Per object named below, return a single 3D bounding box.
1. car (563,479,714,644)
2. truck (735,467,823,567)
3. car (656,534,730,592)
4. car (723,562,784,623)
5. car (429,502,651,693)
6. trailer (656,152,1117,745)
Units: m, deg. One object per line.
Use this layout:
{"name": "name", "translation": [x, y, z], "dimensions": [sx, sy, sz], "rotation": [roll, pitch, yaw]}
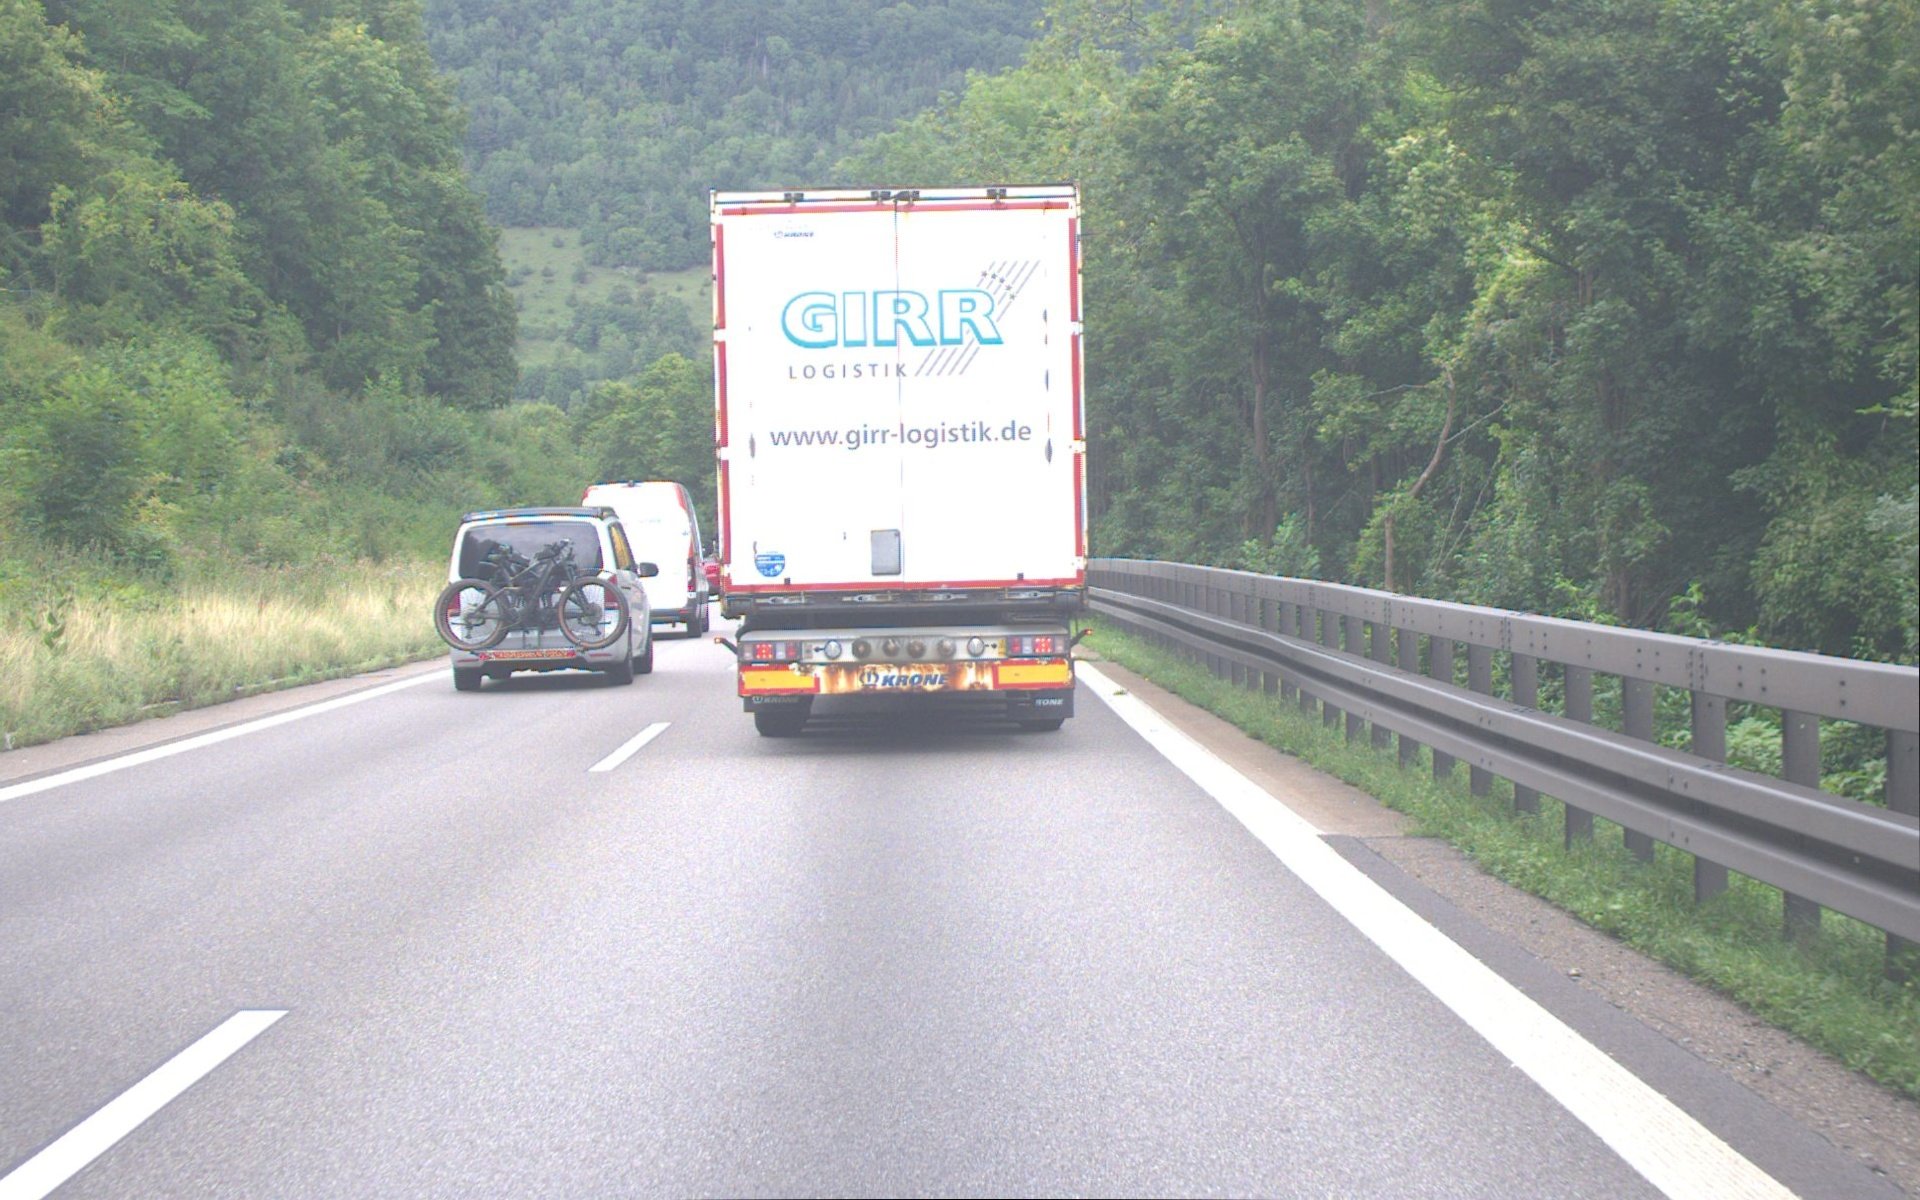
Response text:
{"name": "car", "translation": [-5.380, -0.675, 58.206], "dimensions": [2.123, 2.589, 5.564], "rotation": [-2, 1, -2]}
{"name": "truck", "translation": [-7.352, -3.294, 138.736], "dimensions": [3.068, 3.864, 8.460], "rotation": [-1, 1, -6]}
{"name": "car", "translation": [-7.100, -0.994, 91.625], "dimensions": [1.683, 1.447, 3.765], "rotation": [-2, 1, -1]}
{"name": "car", "translation": [-7.088, -0.282, 117.928], "dimensions": [1.993, 2.007, 4.001], "rotation": [-1, 1, -4]}
{"name": "car", "translation": [-4.533, -0.081, 37.875], "dimensions": [2.018, 1.907, 5.564], "rotation": [-1, 1, -3]}
{"name": "trailer", "translation": [-0.530, -1.125, 28.135], "dimensions": [3.133, 4.029, 9.440], "rotation": [0, 1, 0]}
